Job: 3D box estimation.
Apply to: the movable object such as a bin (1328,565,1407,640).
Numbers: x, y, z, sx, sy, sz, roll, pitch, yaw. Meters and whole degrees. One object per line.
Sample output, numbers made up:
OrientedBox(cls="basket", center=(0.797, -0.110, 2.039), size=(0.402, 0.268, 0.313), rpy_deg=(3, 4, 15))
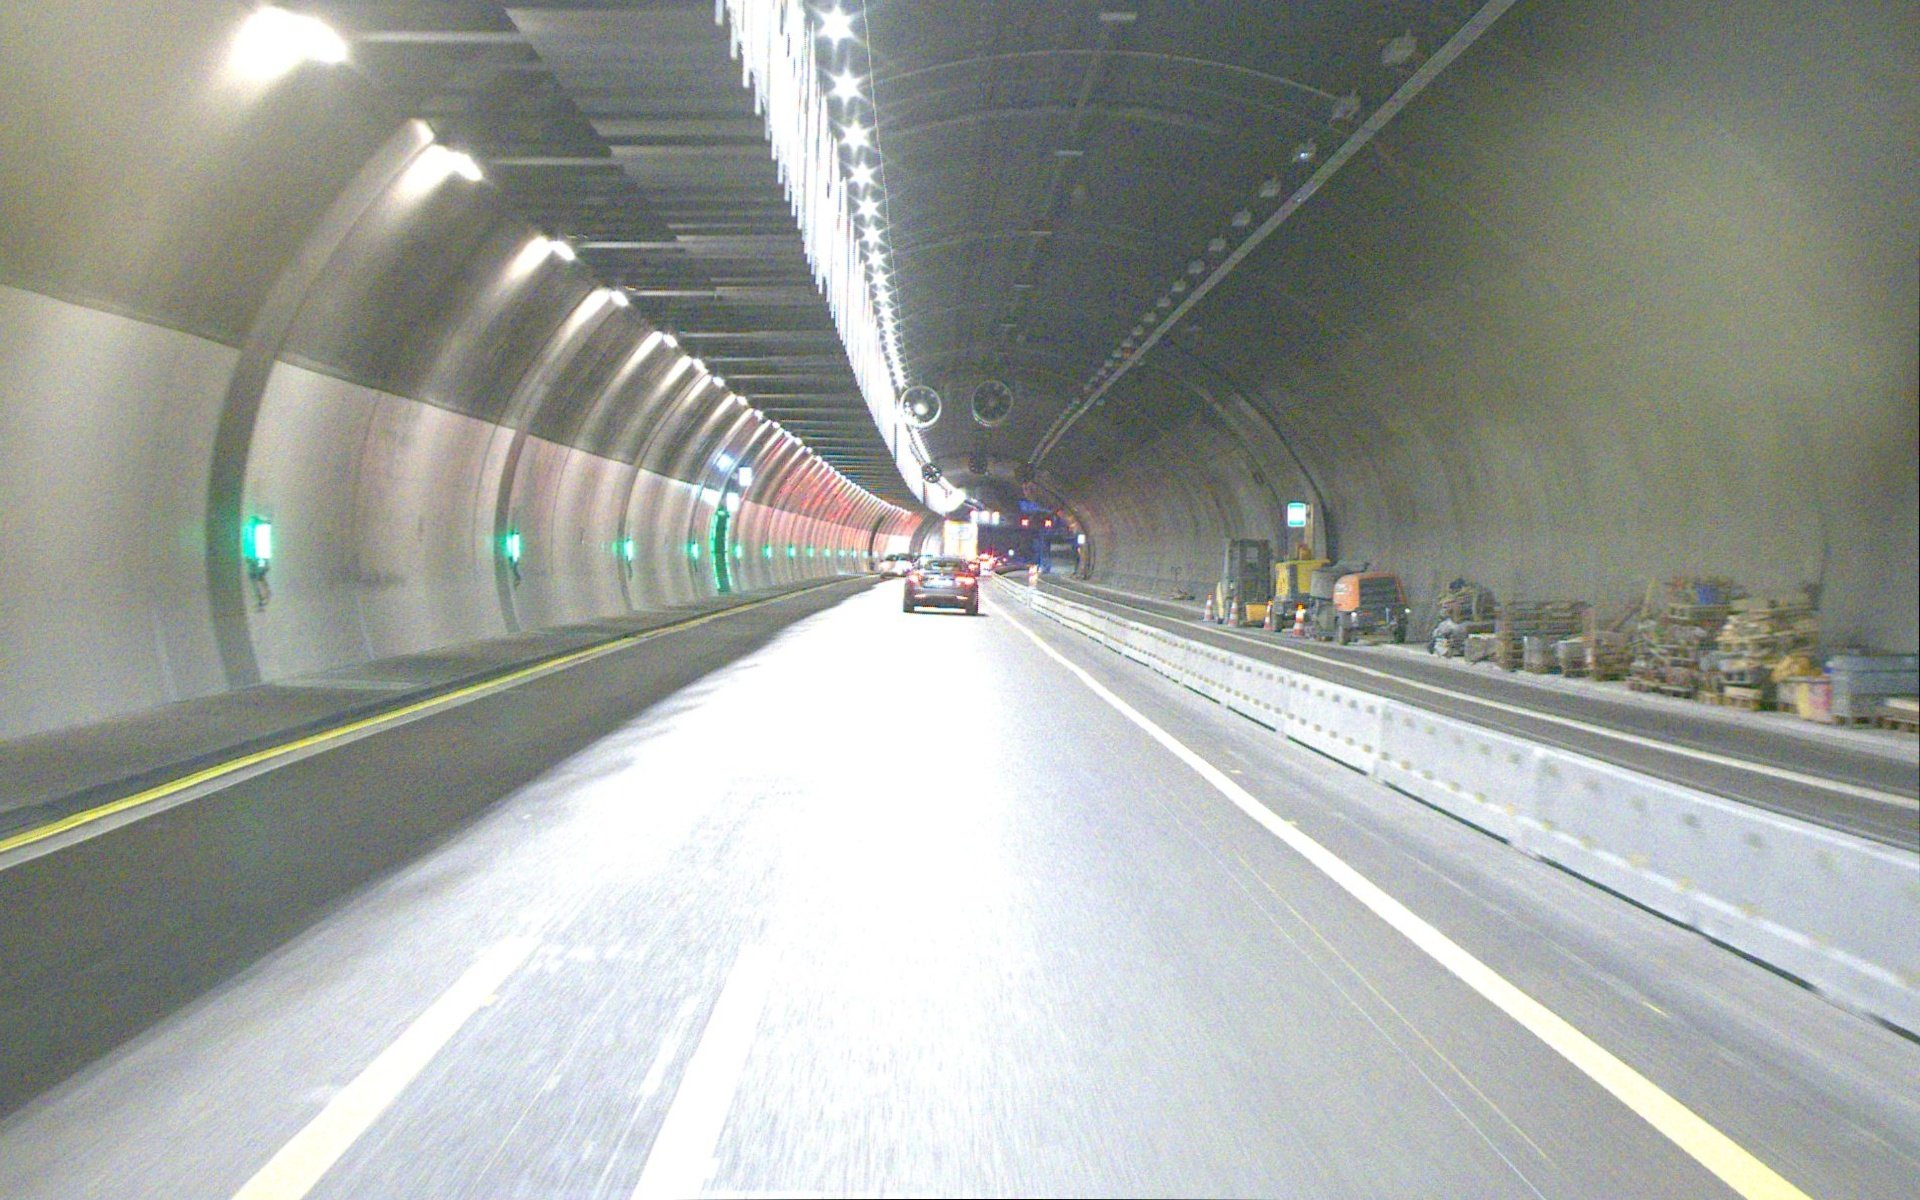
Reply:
OrientedBox(cls="movable object such as a bin", center=(8.070, 0.038, 68.182), size=(1.234, 1.437, 2.217), rpy_deg=(1, 1, -1))

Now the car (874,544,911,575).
OrientedBox(cls="car", center=(-3.831, -2.318, 196.368), size=(1.930, 1.681, 4.000), rpy_deg=(-1, 1, 1))

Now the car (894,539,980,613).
OrientedBox(cls="car", center=(-0.593, -0.620, 86.636), size=(1.946, 1.788, 4.001), rpy_deg=(-1, 1, -3))

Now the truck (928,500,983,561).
OrientedBox(cls="truck", center=(-0.378, -5.307, 264.242), size=(4.066, 4.517, 14.966), rpy_deg=(-1, 1, 0))

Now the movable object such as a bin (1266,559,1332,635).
OrientedBox(cls="movable object such as a bin", center=(7.821, -0.084, 79.456), size=(1.234, 1.713, 2.217), rpy_deg=(1, 1, -1))

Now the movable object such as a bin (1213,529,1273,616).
OrientedBox(cls="movable object such as a bin", center=(7.087, -0.691, 86.164), size=(1.234, 2.133, 2.217), rpy_deg=(1, 1, -1))
